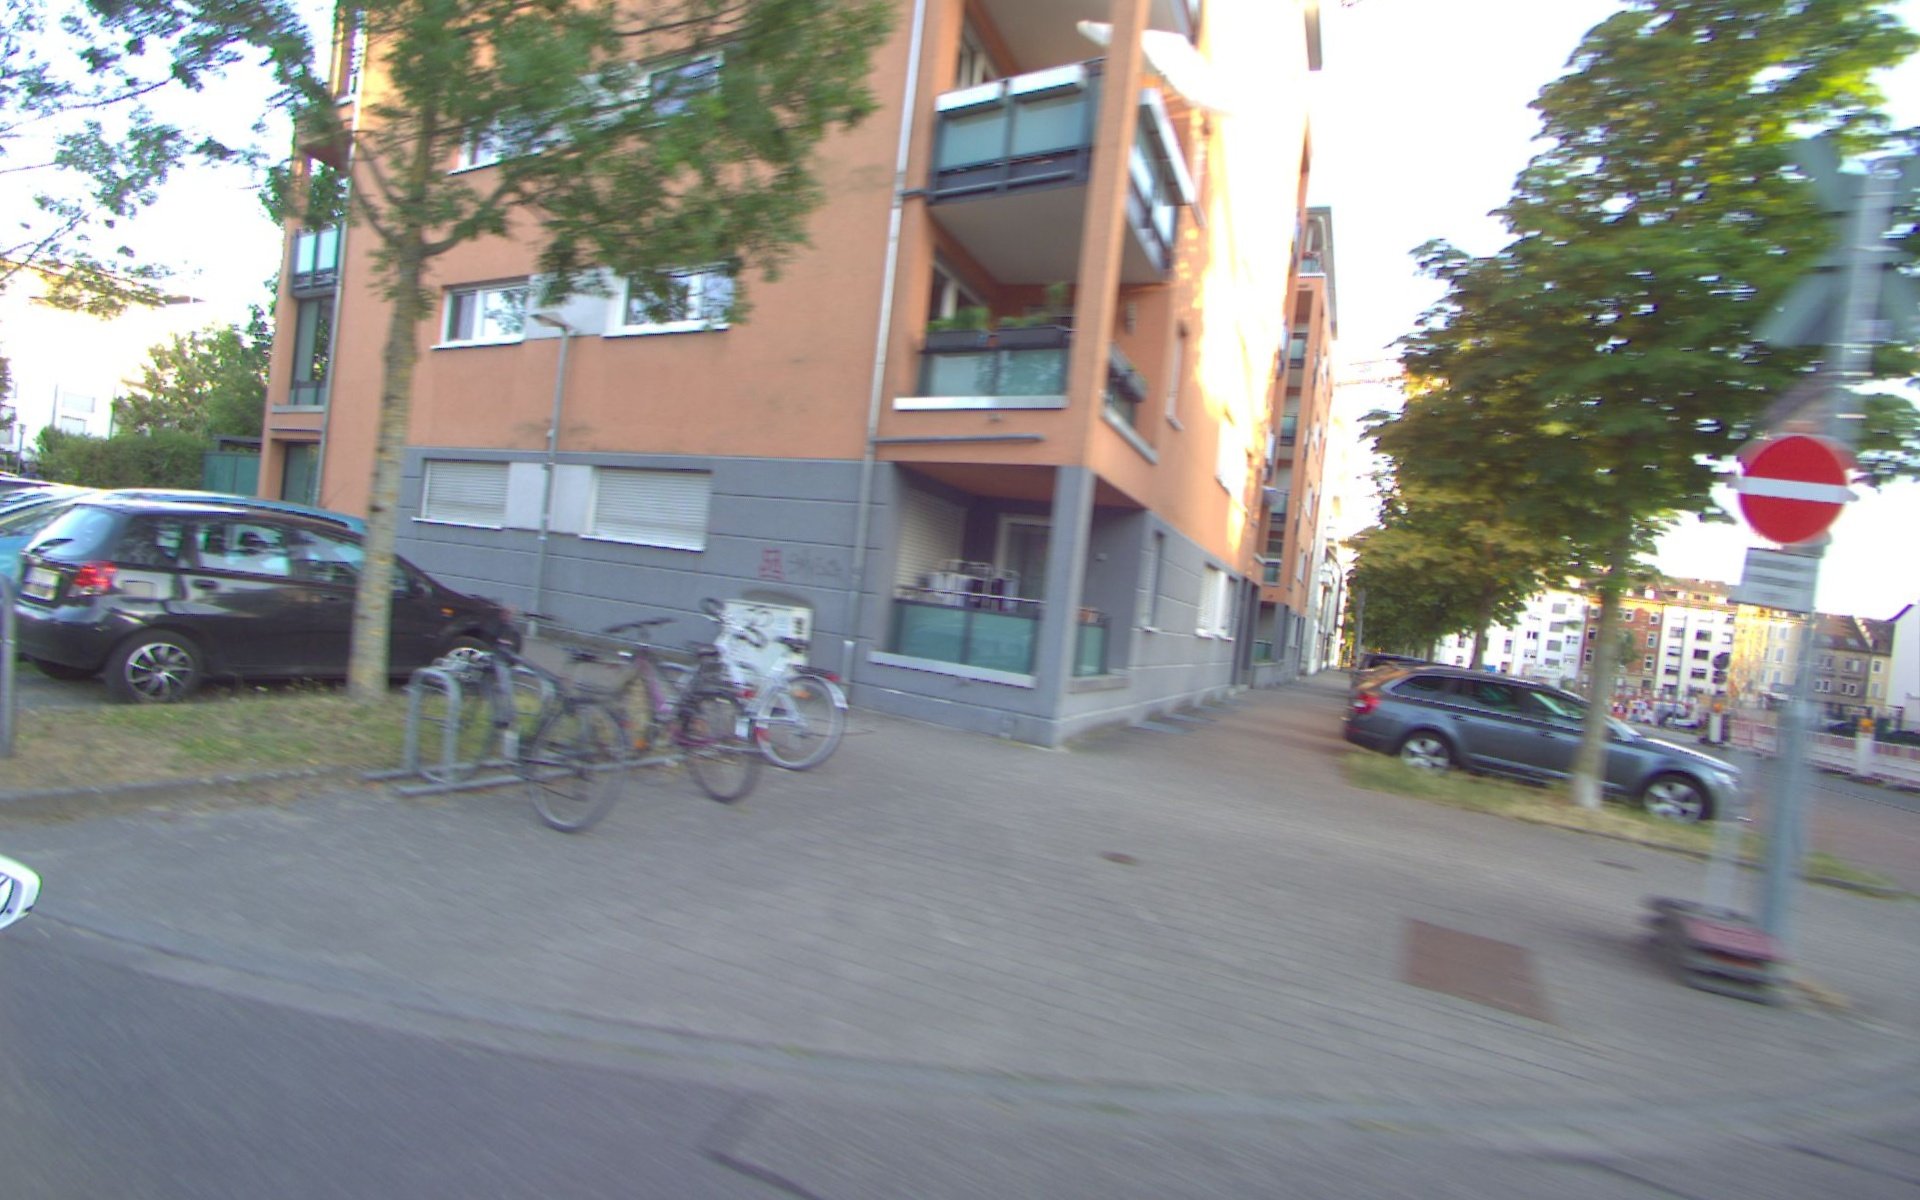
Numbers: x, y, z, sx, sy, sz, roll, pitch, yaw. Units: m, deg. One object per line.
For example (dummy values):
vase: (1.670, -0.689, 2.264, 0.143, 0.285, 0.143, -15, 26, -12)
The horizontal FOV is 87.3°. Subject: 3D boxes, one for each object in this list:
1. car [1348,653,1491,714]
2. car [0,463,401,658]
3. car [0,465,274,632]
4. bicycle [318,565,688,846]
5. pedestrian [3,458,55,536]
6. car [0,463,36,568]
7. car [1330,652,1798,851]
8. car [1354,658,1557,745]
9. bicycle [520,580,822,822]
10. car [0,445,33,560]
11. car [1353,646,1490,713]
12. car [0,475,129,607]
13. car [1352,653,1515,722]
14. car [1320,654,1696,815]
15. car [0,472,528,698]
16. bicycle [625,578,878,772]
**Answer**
car: (17.585, 3.167, 38.753, 4.726, 1.614, 1.999, 7, 1, 21)
car: (-7.880, -0.345, 9.640, 1.645, 1.589, 4.051, 7, 1, 32)
car: (-10.159, -0.613, 11.101, 1.593, 1.588, 3.880, 7, 0, 32)
bicycle: (-2.576, 0.520, 5.649, 1.863, 1.168, 0.718, 9, 3, 22)
pedestrian: (-22.495, -2.490, 24.314, 0.688, 1.765, 0.669, 7, 1, 32)
car: (-16.440, -1.454, 14.535, 1.763, 1.589, 4.216, 7, 2, 32)
car: (7.438, 1.798, 13.029, 4.728, 1.614, 1.999, 7, 0, 24)
car: (13.549, 2.737, 27.865, 4.726, 1.614, 1.999, 7, 1, 21)
bicycle: (-1.903, 0.581, 6.500, 1.895, 1.168, 0.679, 9, 4, 31)
car: (-20.236, -2.105, 18.015, 1.984, 2.143, 4.922, 7, 0, 34)
car: (18.606, 3.174, 40.813, 4.726, 2.009, 1.999, 7, 1, 21)
car: (-12.626, -0.846, 12.040, 1.514, 1.513, 3.777, 5, -1, 32)
car: (15.958, 2.928, 34.246, 4.726, 1.614, 1.999, 7, 1, 21)
car: (8.266, 1.950, 15.703, 4.728, 1.614, 1.999, 7, 0, 24)
car: (-5.981, -0.044, 8.830, 1.585, 1.491, 3.757, 7, 0, 28)
bicycle: (-1.642, 0.539, 7.769, 1.929, 1.140, 0.530, 9, 0, 31)
